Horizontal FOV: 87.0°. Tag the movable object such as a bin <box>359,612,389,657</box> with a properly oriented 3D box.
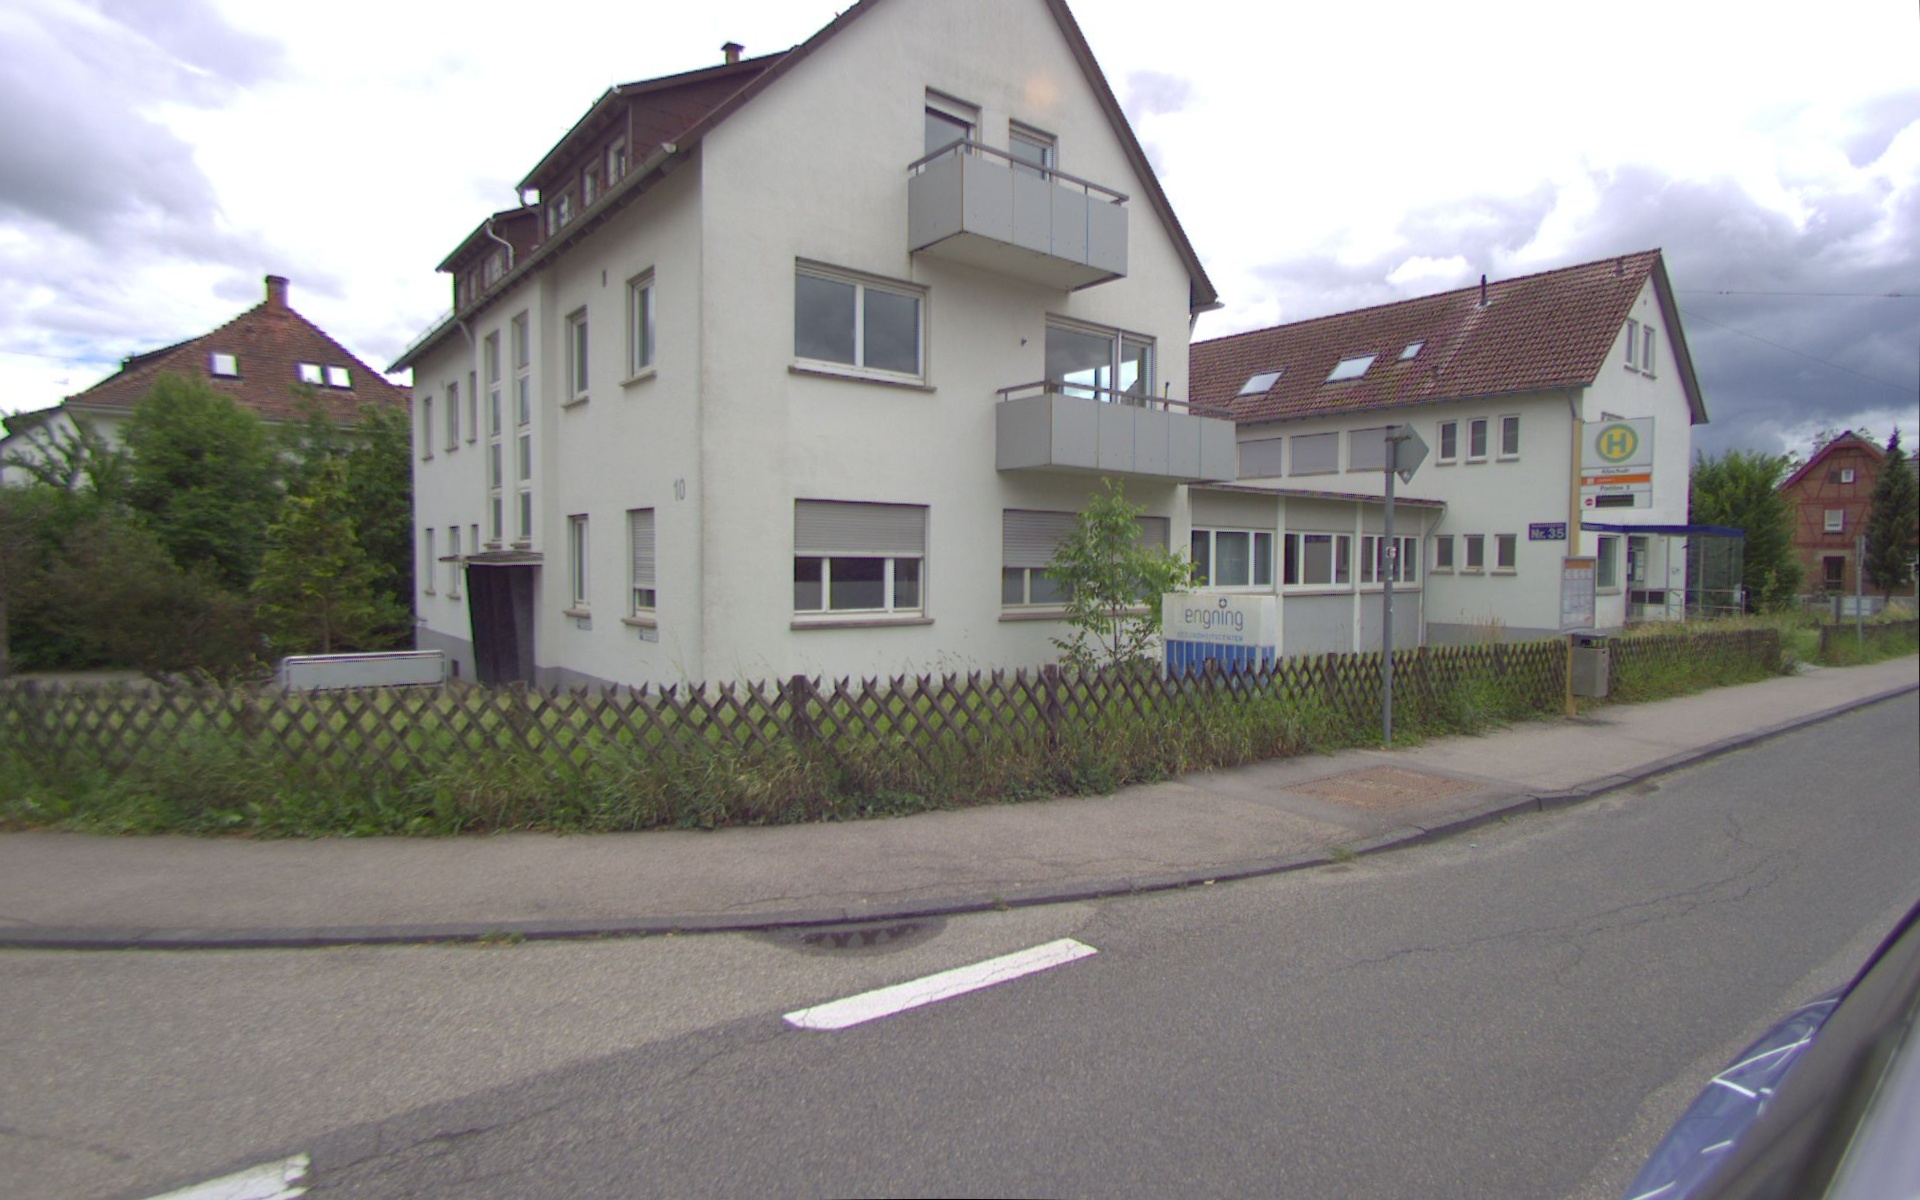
[{"bbox_3d":[-15.933,0.926,27.501,0.624,1.186,0.564,0,-1,-38],"label":"movable object such as a bin"}]
